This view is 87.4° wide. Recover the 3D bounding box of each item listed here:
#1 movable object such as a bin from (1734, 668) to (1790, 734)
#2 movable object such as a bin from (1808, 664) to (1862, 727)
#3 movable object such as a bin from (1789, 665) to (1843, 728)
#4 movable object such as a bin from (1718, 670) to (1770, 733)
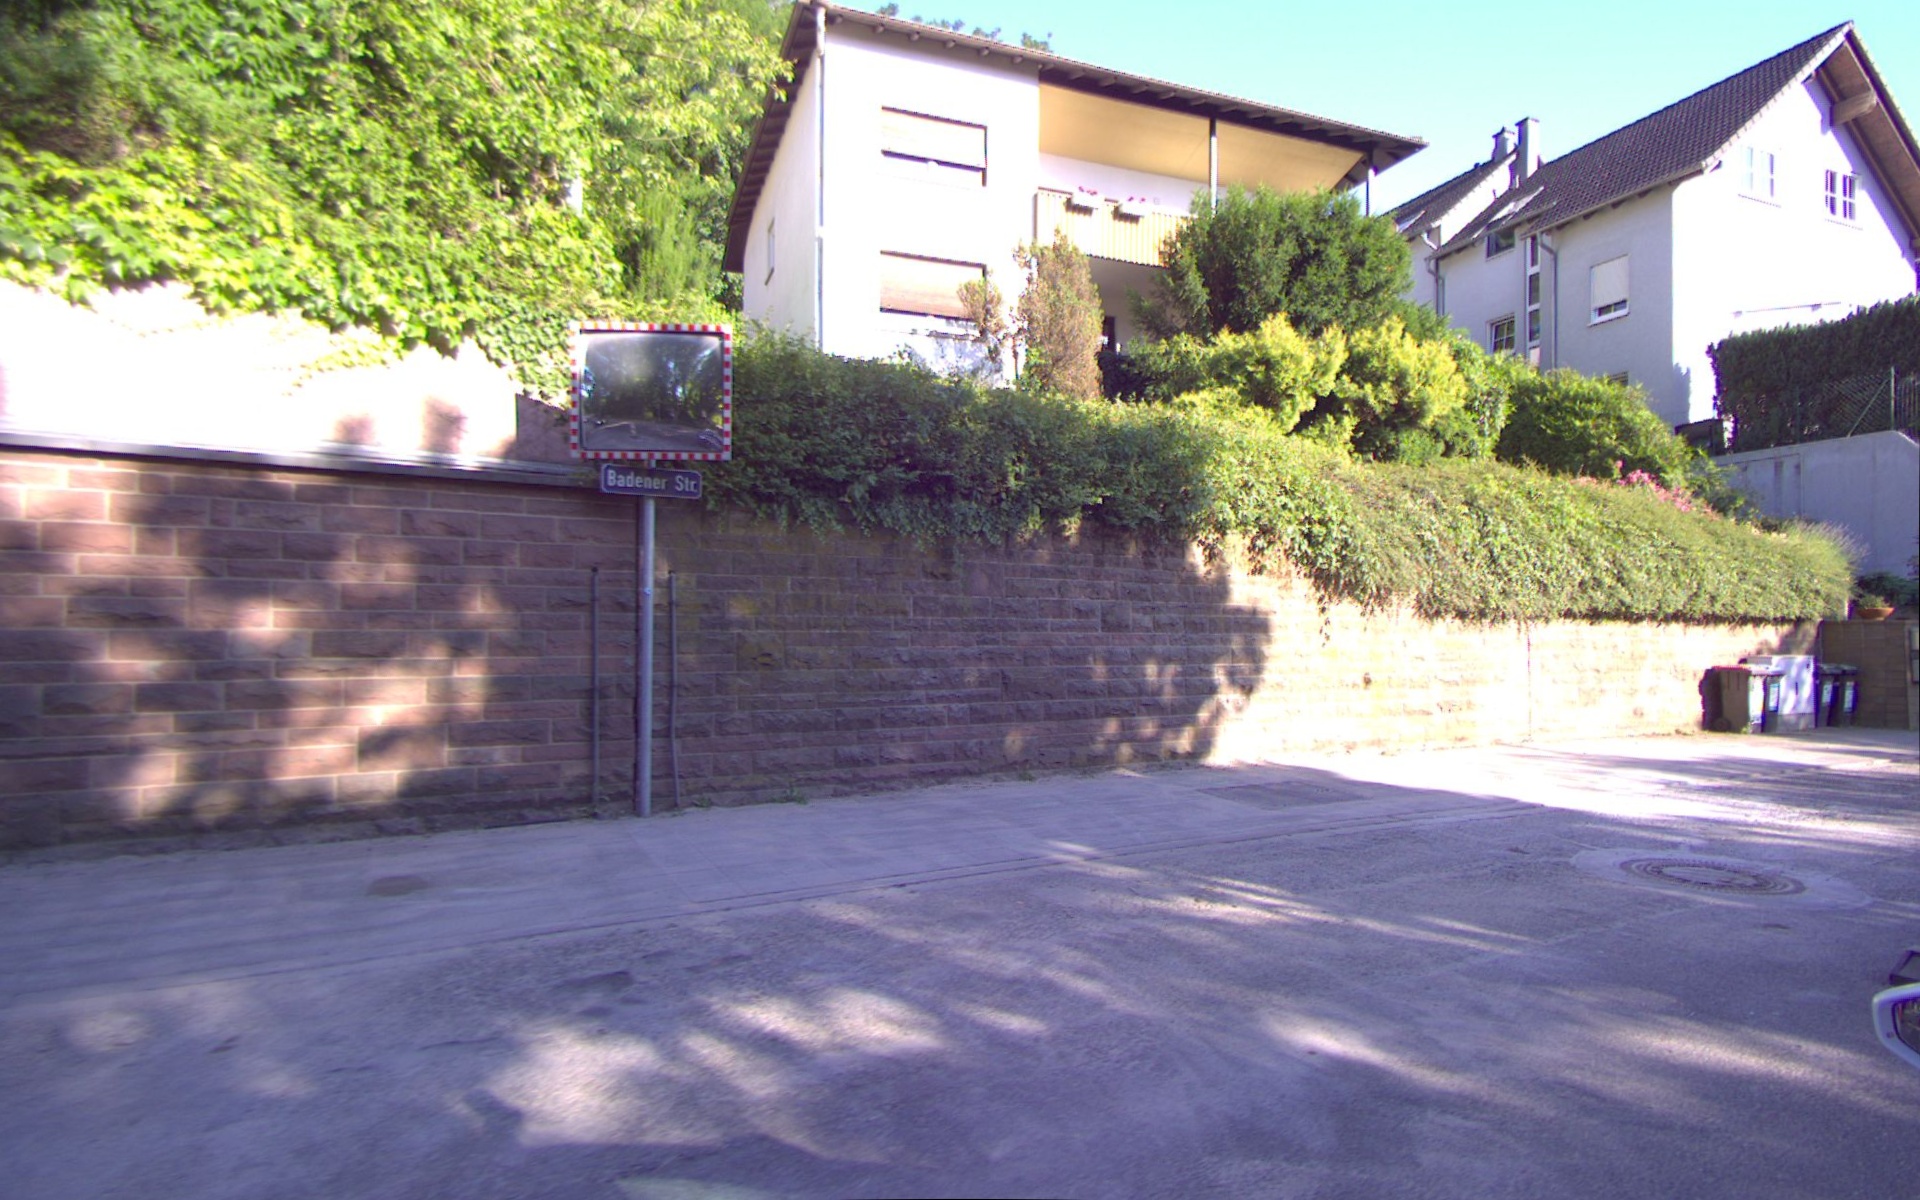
[{"bbox_3d":[11.403,1.425,14.278,0.494,0.895,0.455,1,-1,-26],"label":"movable object such as a bin"},{"bbox_3d":[13.238,1.434,15.204,0.494,0.895,0.455,1,-1,-26],"label":"movable object such as a bin"},{"bbox_3d":[12.759,1.427,14.973,0.494,0.895,0.455,1,-1,-26],"label":"movable object such as a bin"},{"bbox_3d":[10.984,1.413,14.079,0.387,0.845,0.453,1,-1,-26],"label":"movable object such as a bin"}]
